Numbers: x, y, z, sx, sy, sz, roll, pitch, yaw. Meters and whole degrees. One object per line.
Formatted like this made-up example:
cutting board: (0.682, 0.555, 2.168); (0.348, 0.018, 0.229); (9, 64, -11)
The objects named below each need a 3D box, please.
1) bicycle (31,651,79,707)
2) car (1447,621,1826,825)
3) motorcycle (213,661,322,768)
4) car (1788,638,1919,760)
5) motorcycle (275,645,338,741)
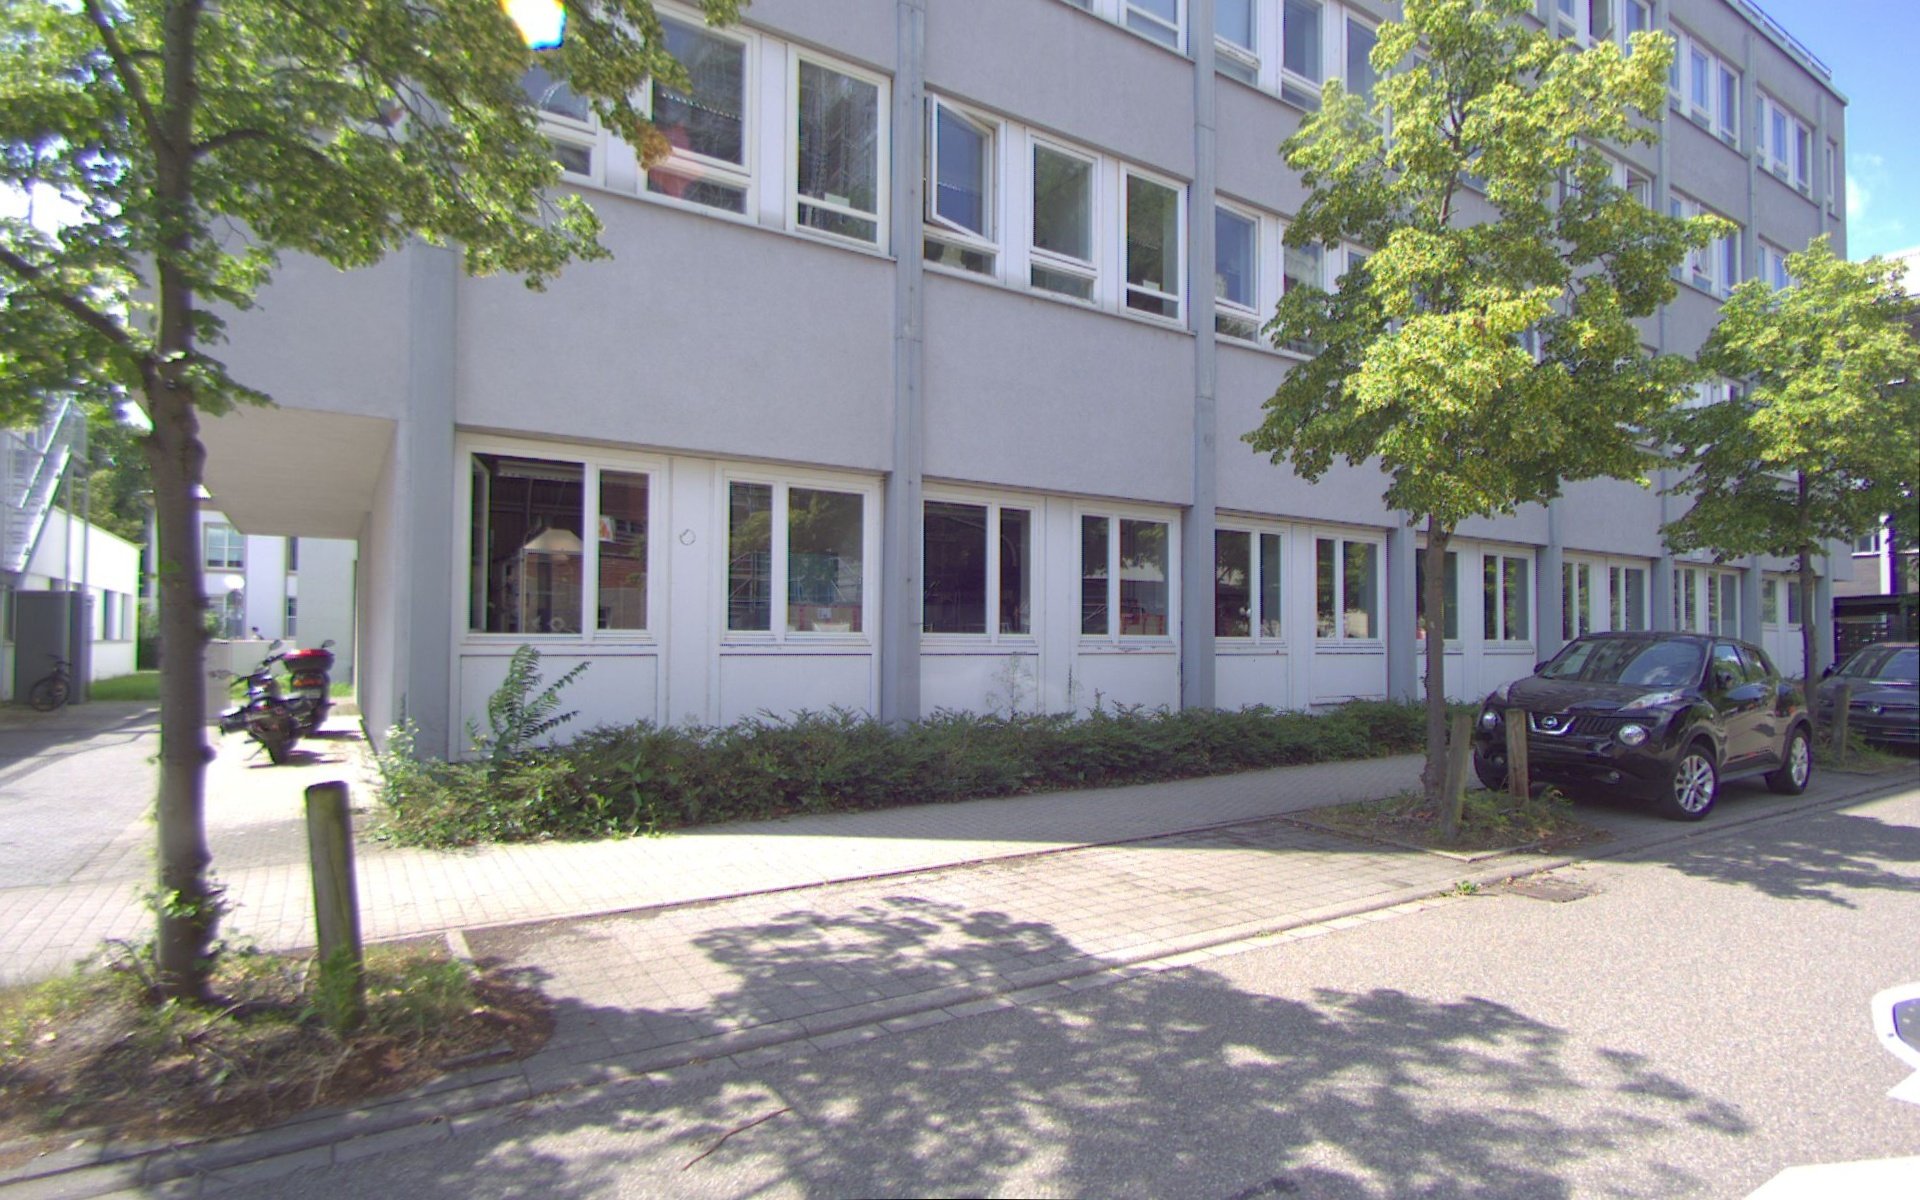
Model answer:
bicycle: (-16.900, 1.461, 18.768); (0.439, 0.986, 0.974); (1, -2, -30)
car: (6.587, 1.027, 9.656); (4.027, 1.584, 1.686); (2, -2, -35)
motorcycle: (-7.927, 1.259, 11.590); (0.872, 1.056, 2.165); (1, -3, -31)
car: (13.351, 1.296, 13.972); (4.216, 1.480, 1.766); (2, -1, -35)
motorcycle: (-9.244, 1.272, 14.254); (0.624, 1.263, 1.769); (1, -2, -30)
